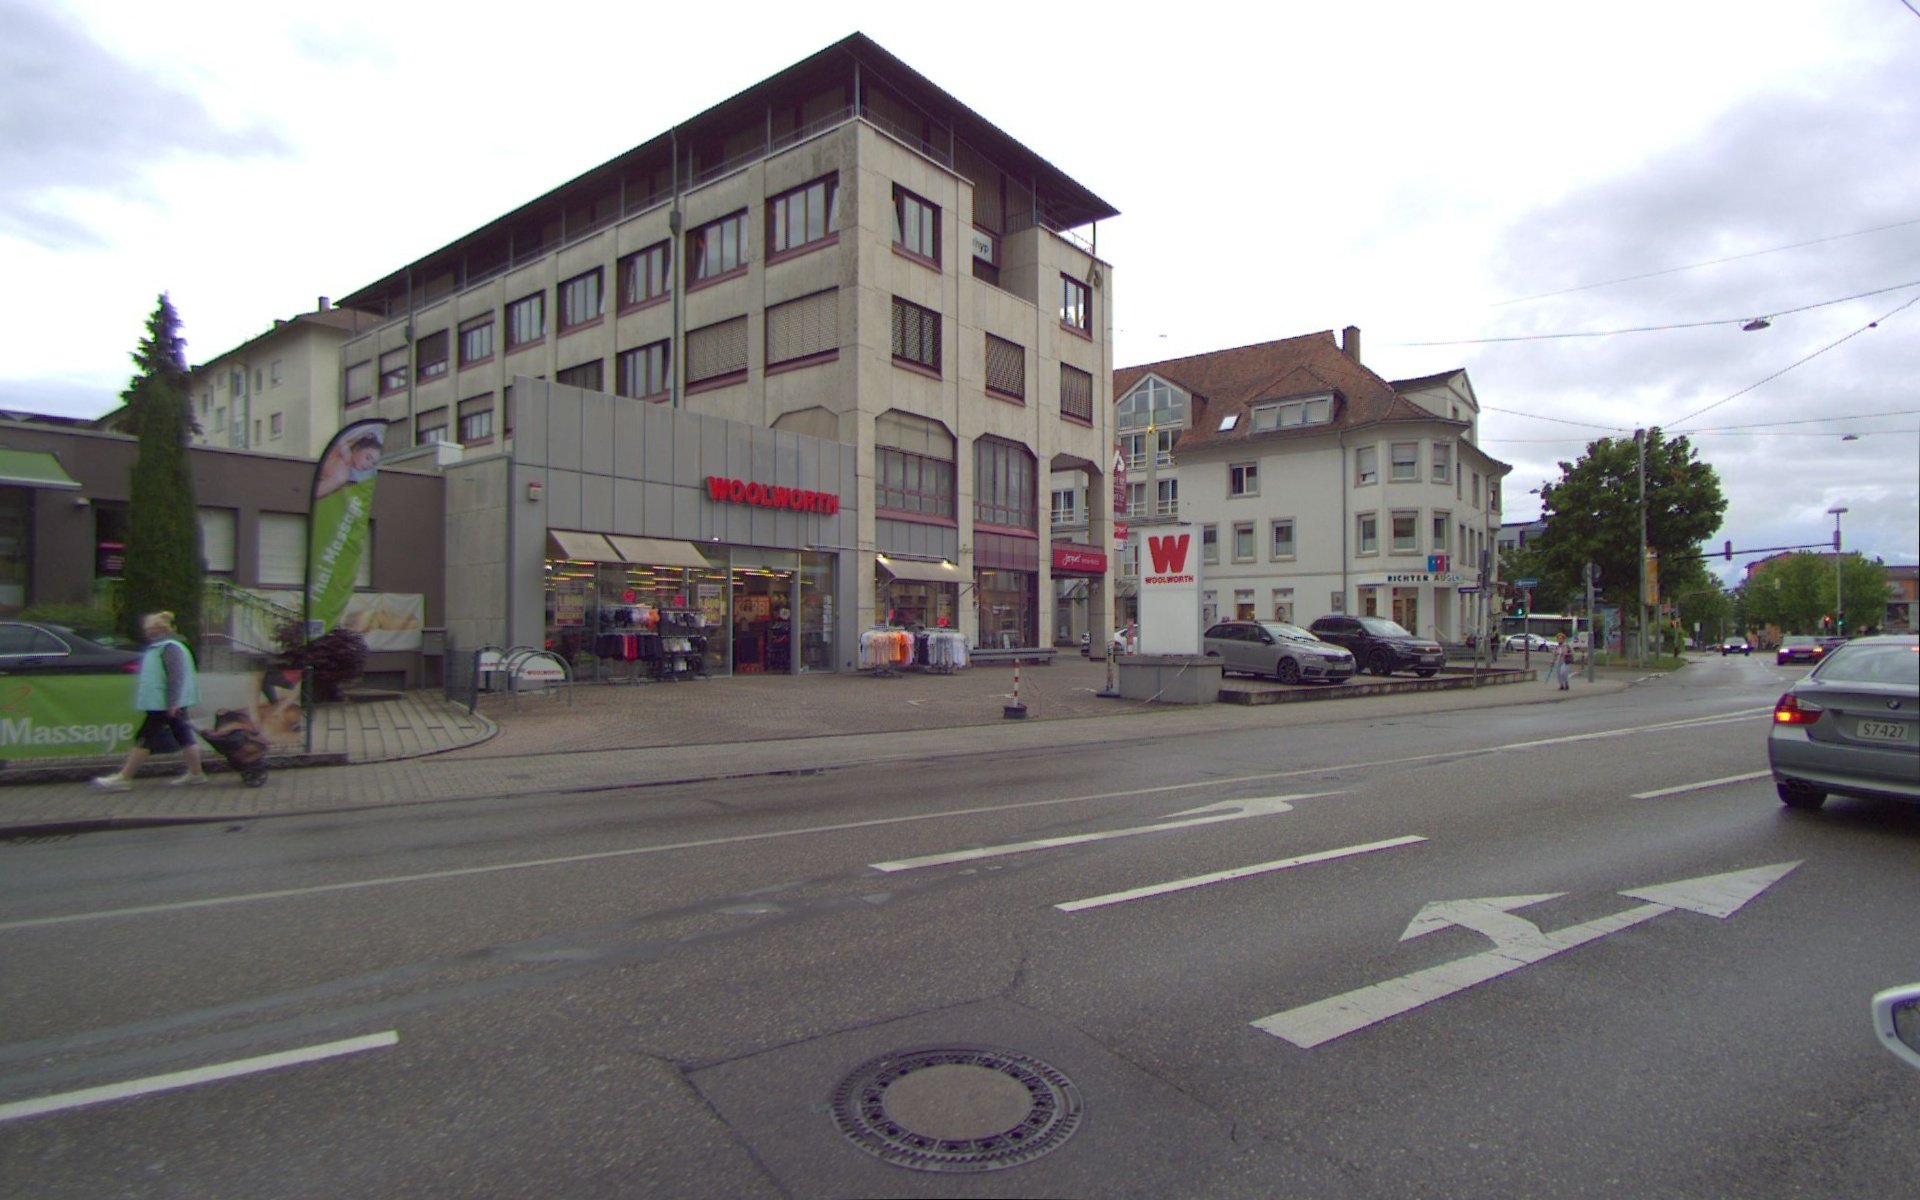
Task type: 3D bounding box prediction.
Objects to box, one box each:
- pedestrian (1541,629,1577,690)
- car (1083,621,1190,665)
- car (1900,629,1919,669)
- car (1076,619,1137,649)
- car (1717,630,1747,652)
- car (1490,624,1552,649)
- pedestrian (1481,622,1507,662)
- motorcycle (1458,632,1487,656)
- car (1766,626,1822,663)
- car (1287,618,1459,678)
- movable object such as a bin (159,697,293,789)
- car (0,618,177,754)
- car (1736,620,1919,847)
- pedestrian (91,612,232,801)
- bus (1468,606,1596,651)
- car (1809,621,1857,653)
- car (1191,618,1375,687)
[{"bbox_3d":[15.921,1.568,26.690,0.751,1.550,0.506,1,0,37],"label":"pedestrian"},{"bbox_3d":[6.784,1.655,38.644,3.701,1.519,1.577,3,-2,-18],"label":"car"},{"bbox_3d":[51.001,2.562,52.667,1.968,2.040,3.986,-1,-2,36],"label":"car"},{"bbox_3d":[8.211,1.898,56.071,1.843,1.612,3.988,-1,-2,35],"label":"car"},{"bbox_3d":[67.646,3.579,88.063,1.861,1.840,3.988,-1,-2,35],"label":"car"},{"bbox_3d":[43.542,2.828,77.990,3.944,1.906,1.814,-1,-2,43],"label":"car"},{"bbox_3d":[23.862,1.858,44.872,0.949,1.731,0.932,-1,-1,32],"label":"pedestrian"},{"bbox_3d":[26.540,2.257,51.989,0.711,1.194,2.575,-1,-1,42],"label":"motorcycle"},{"bbox_3d":[41.902,2.192,50.547,1.820,1.706,3.986,2,0,36],"label":"car"},{"bbox_3d":[11.526,1.289,28.365,1.926,1.526,4.407,1,-1,-23],"label":"car"},{"bbox_3d":[-7.175,1.385,9.844,0.718,0.799,0.755,0,-2,13],"label":"movable object such as a bin"},{"bbox_3d":[-11.804,0.937,11.106,4.589,1.458,1.988,1,-2,-26],"label":"car"},{"bbox_3d":[8.208,0.937,8.109,4.325,1.483,1.788,0,1,-34],"label":"car"},{"bbox_3d":[-7.579,0.984,9.560,0.732,1.707,0.755,-1,-1,13],"label":"pedestrian"},{"bbox_3d":[48.074,2.301,84.804,2.886,3.147,9.060,0,3,-32],"label":"bus"},{"bbox_3d":[57.700,2.417,66.436,1.967,2.040,3.986,-1,-2,36],"label":"car"},{"bbox_3d":[7.902,1.243,25.024,1.861,1.546,4.432,1,-1,-26],"label":"car"}]
